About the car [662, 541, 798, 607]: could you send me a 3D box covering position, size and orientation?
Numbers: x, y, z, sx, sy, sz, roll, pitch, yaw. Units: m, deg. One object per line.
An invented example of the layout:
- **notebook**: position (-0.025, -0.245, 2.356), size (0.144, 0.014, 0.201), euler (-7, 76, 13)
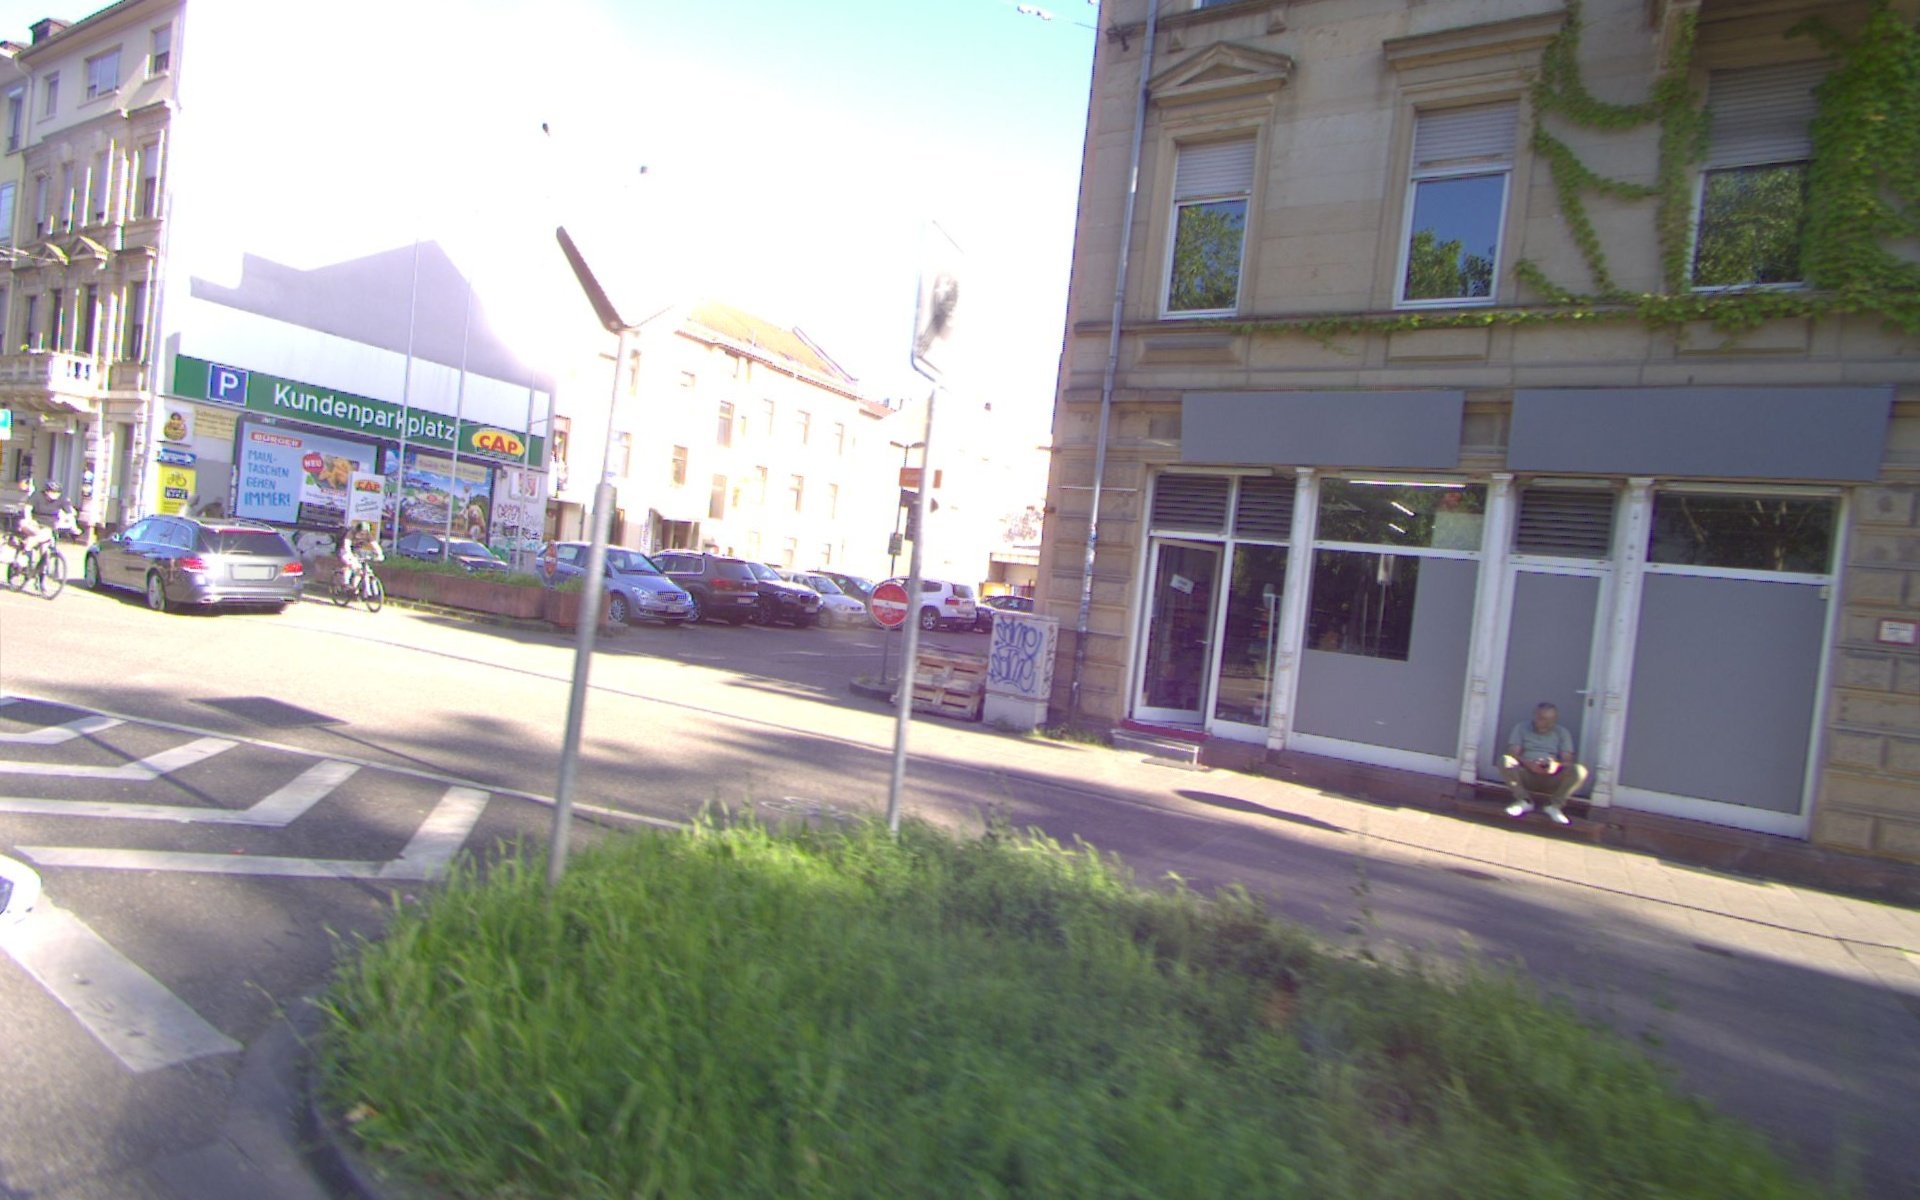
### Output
- **car**: position (-7.747, -0.896, 33.789), size (4.309, 1.687, 1.756), euler (7, 1, 31)

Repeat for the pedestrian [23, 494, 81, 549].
- **pedestrian**: position (-23.839, -2.058, 26.410), size (0.644, 1.298, 0.902), euler (7, 2, 26)

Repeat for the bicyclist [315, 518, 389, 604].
- **bicyclist**: position (-11.142, -0.718, 18.443), size (1.162, 1.467, 0.676), euler (8, 5, 32)

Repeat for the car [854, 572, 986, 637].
- **car**: position (-1.333, 0.127, 32.659), size (3.871, 1.601, 1.658), euler (7, 1, 30)

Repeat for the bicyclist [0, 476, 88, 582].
- **bicyclist**: position (-14.287, -1.087, 15.466), size (0.935, 1.479, 0.746), euler (7, 0, -10)

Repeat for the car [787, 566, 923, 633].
- **car**: position (-3.239, -0.033, 30.825), size (3.871, 1.564, 1.543), euler (7, 1, 30)

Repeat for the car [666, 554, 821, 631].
- **car**: position (-5.805, -0.214, 26.850), size (3.871, 1.564, 1.543), euler (7, 1, 30)

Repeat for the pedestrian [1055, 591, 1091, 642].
- **pedestrian**: position (4.317, 0.620, 38.566), size (0.908, 1.818, 0.817), euler (8, 2, 32)

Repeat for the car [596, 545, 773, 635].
- **car**: position (-6.736, -0.249, 24.538), size (3.931, 1.715, 1.747), euler (7, 2, 29)

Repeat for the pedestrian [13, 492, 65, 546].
- **pedestrian**: position (-24.434, -2.151, 26.694), size (0.598, 1.298, 0.798), euler (7, 1, 29)

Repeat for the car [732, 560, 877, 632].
- **car**: position (-4.470, -0.132, 28.766), size (3.871, 1.564, 1.543), euler (7, 1, 30)

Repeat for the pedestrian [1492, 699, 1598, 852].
- **pedestrian**: position (5.577, 1.643, 9.600), size (0.701, 1.277, 0.716), euler (7, 1, 31)

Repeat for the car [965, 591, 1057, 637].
- **car**: position (2.000, 0.552, 39.802), size (3.148, 1.431, 1.543), euler (7, 1, 30)

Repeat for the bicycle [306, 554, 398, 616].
- **bicycle**: position (-11.185, -0.280, 18.490), size (1.886, 0.933, 0.649), euler (8, 5, 32)

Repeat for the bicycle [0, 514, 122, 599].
- **bicycle**: position (-14.282, -0.692, 15.475), size (1.922, 1.116, 0.756), euler (7, 1, -12)

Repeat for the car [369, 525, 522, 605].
- **car**: position (-12.467, -0.859, 24.370), size (3.336, 1.504, 1.561), euler (7, 1, 28)

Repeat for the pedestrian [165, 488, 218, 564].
- **pedestrian**: position (-18.970, -1.814, 24.843), size (0.503, 1.778, 0.762), euler (7, 2, 11)

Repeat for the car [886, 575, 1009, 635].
- **car**: position (-0.447, 0.179, 34.574), size (3.871, 1.564, 1.543), euler (7, 1, 30)

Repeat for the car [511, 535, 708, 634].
- **car**: position (-7.692, -0.349, 22.021), size (3.930, 1.665, 1.748), euler (7, 1, 28)

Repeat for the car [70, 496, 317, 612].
- **car**: position (-13.171, -0.812, 17.195), size (4.655, 1.507, 1.832), euler (7, 3, 32)

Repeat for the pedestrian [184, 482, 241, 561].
- **pedestrian**: position (-19.138, -1.998, 25.765), size (0.734, 1.865, 0.762), euler (7, 2, 11)
